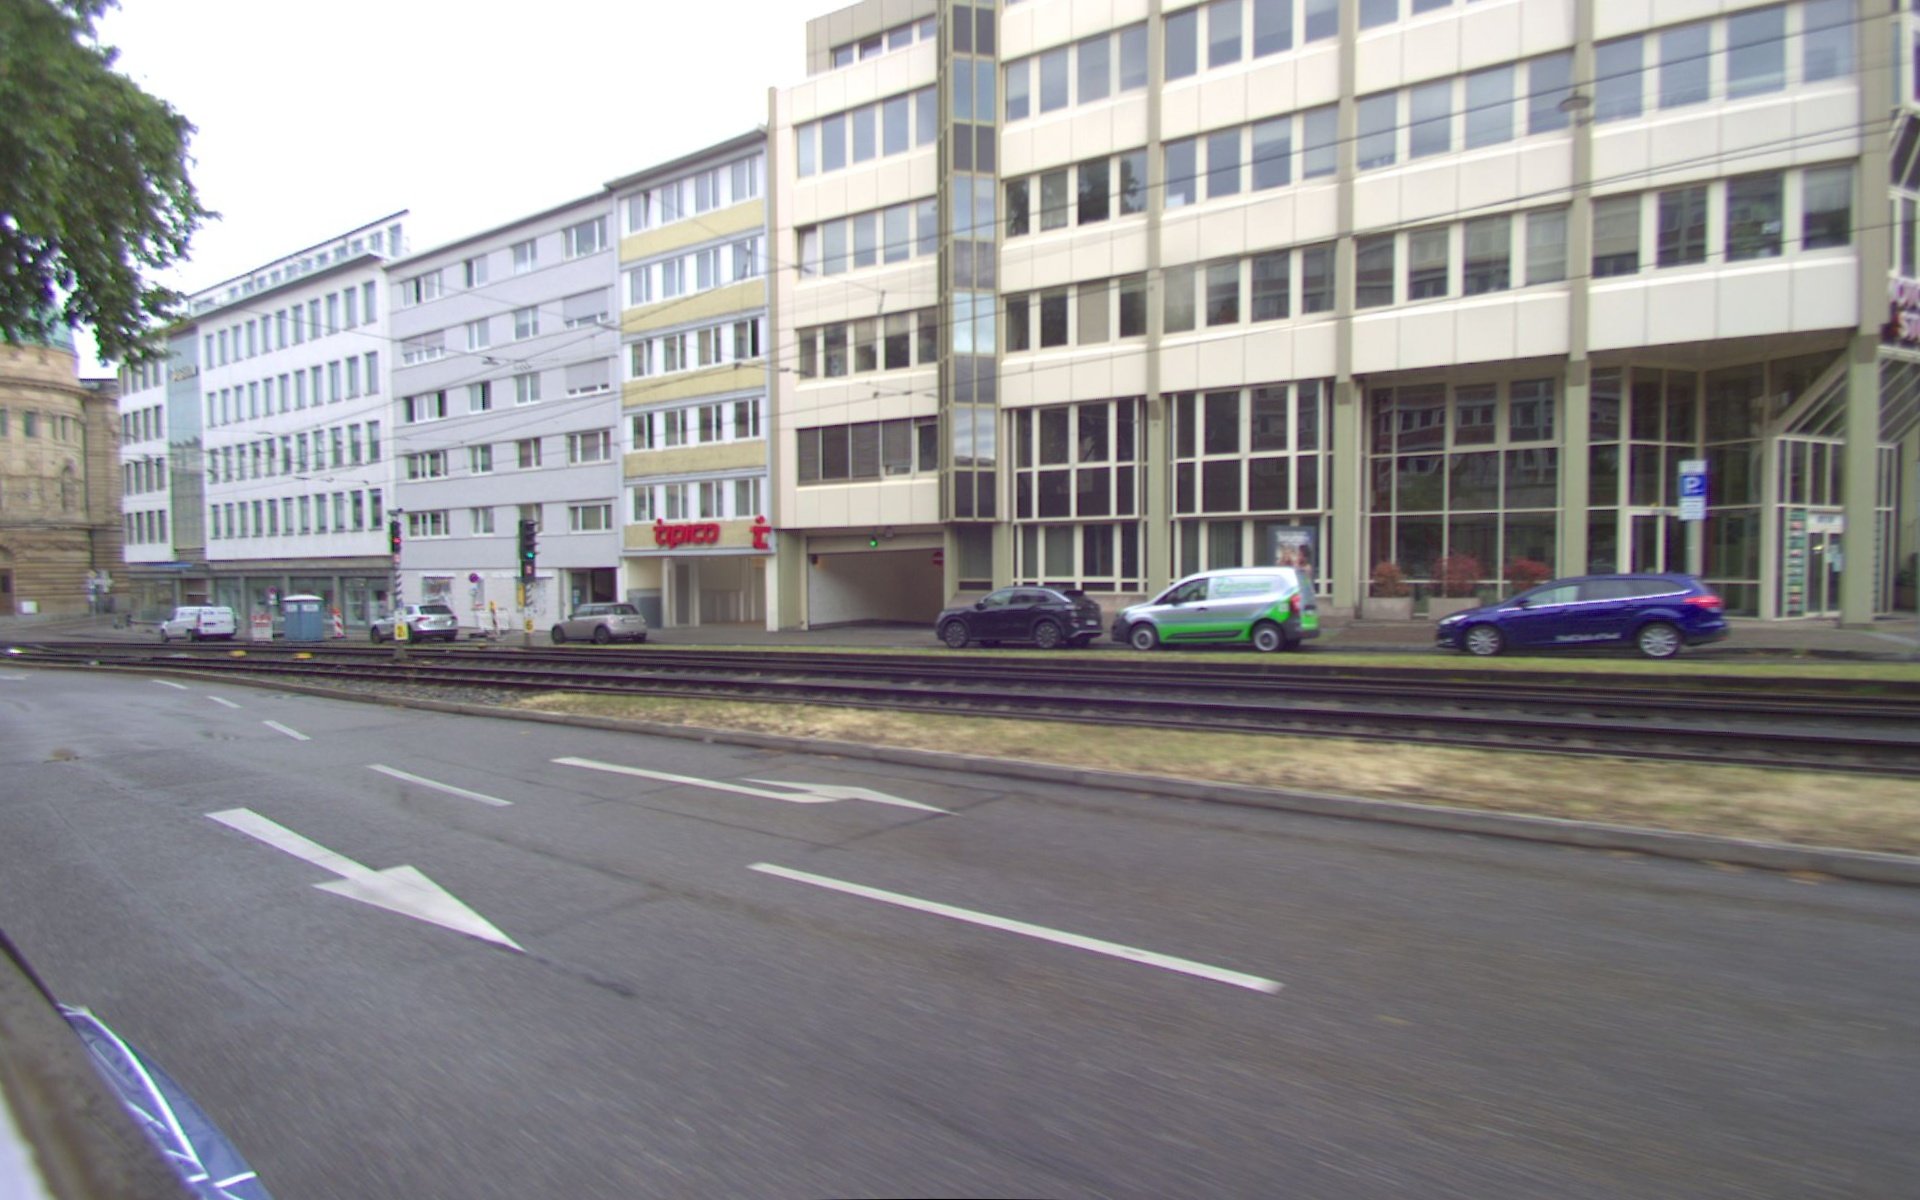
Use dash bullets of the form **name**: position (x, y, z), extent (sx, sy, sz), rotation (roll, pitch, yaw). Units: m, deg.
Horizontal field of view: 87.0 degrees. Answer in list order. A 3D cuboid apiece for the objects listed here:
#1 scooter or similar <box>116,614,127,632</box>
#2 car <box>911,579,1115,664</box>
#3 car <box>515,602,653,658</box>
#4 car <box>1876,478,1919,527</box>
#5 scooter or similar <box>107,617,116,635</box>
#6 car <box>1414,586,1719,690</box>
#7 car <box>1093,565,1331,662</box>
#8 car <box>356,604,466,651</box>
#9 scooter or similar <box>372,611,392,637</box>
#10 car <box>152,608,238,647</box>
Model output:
- **scooter or similar**: position (-61.058, 1.683, 73.707), extent (0.404, 1.209, 1.564), rotation (-4, 3, -33)
- **car**: position (1.286, 0.473, 25.168), extent (4.680, 1.863, 1.979), rotation (0, 3, 33)
- **car**: position (-12.931, 0.980, 34.737), extent (4.680, 1.686, 1.979), rotation (0, 3, 33)
- **car**: position (43.158, -4.302, 43.867), extent (4.778, 2.028, 1.997), rotation (-2, 3, 7)
- **scooter or similar**: position (-61.503, 1.903, 73.334), extent (0.404, 1.209, 1.563), rotation (-4, 3, -40)
- **car**: position (10.882, 0.609, 18.433), extent (4.535, 1.593, 1.979), rotation (0, 3, 33)
- **car**: position (5.498, 0.243, 22.234), extent (4.680, 1.863, 1.979), rotation (0, 3, 33)
- **car**: position (-22.390, 1.144, 41.223), extent (4.684, 1.686, 1.977), rotation (-2, 2, 35)
- **scooter or similar**: position (-28.251, 1.175, 49.478), extent (0.971, 1.211, 0.378), rotation (0, 3, 34)
- **car**: position (-40.993, 1.444, 54.193), extent (5.115, 1.856, 1.979), rotation (0, 3, 33)
